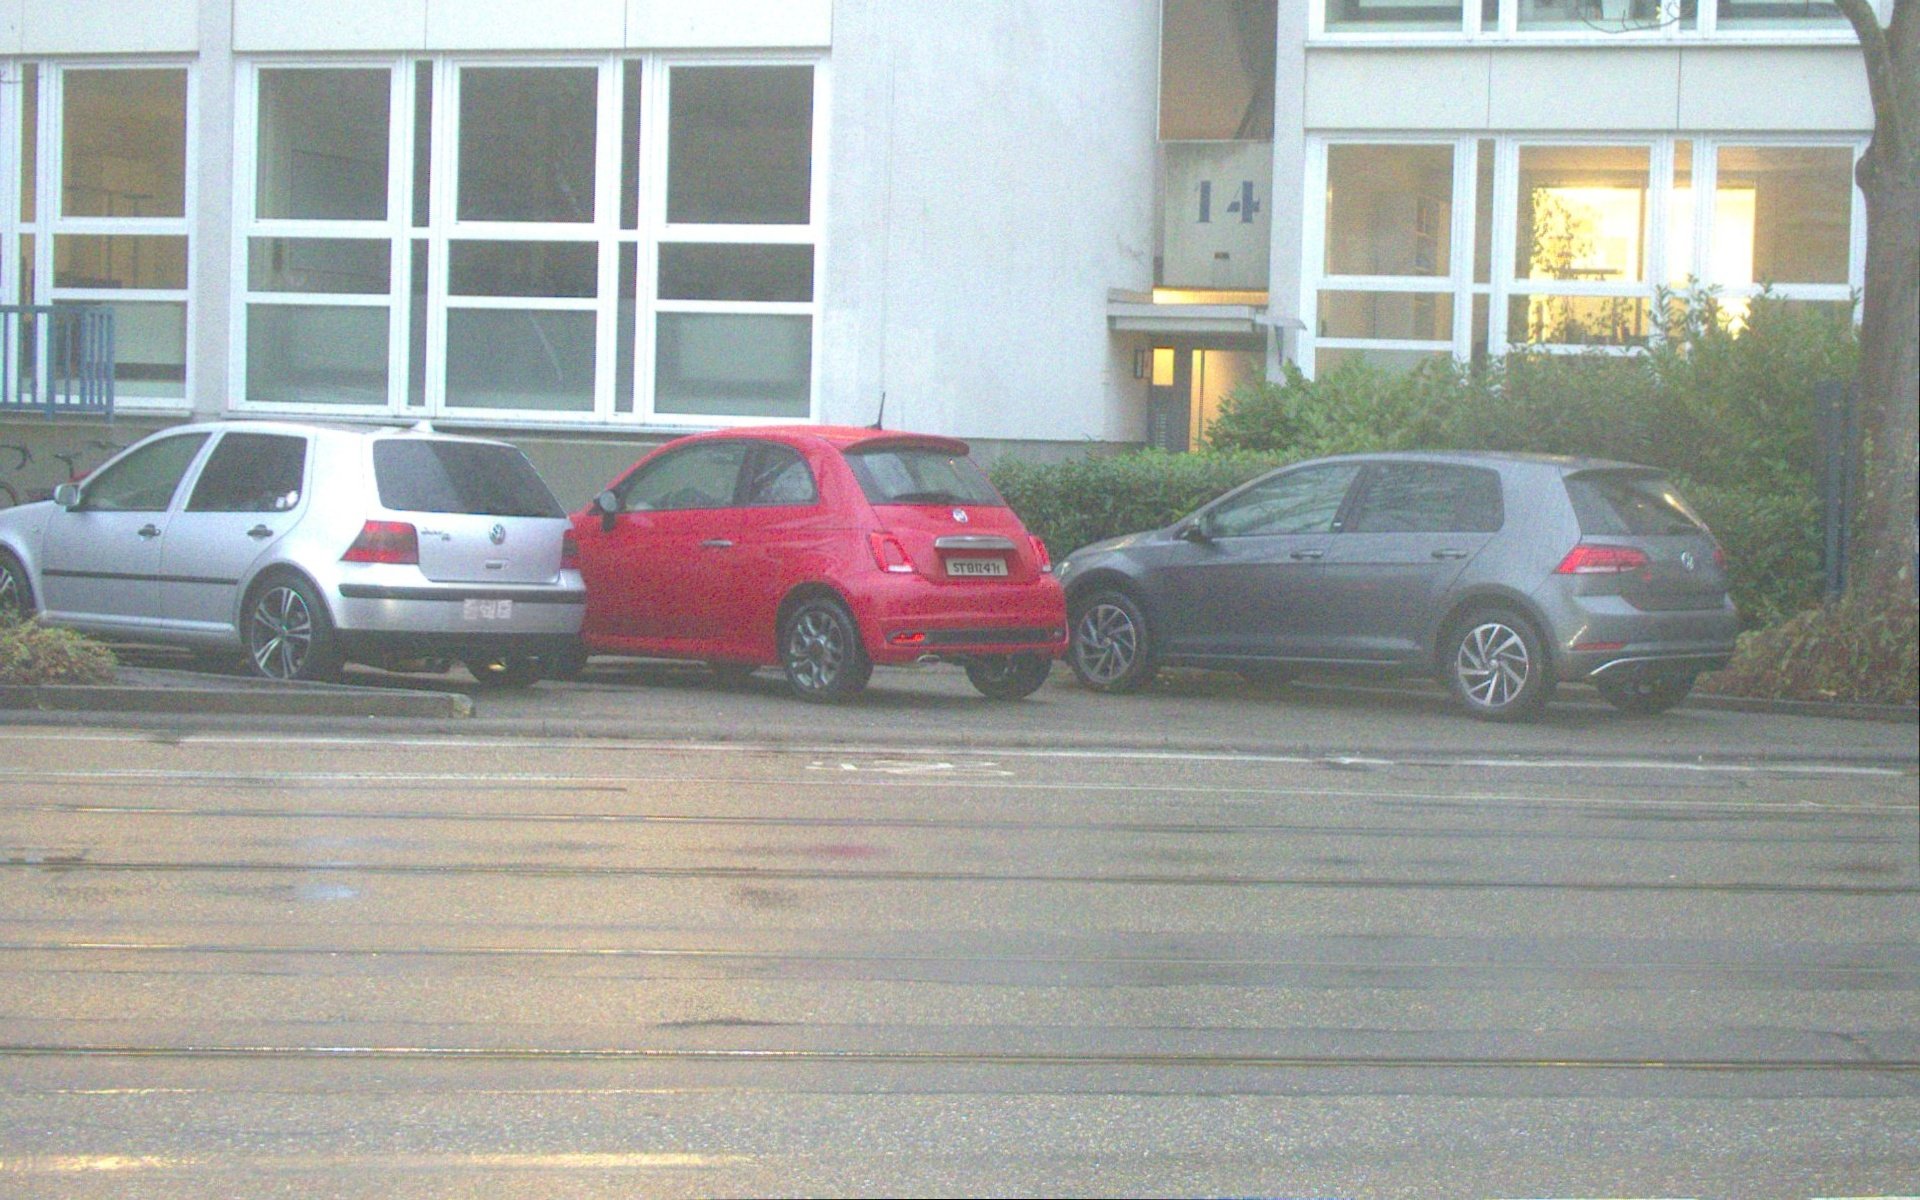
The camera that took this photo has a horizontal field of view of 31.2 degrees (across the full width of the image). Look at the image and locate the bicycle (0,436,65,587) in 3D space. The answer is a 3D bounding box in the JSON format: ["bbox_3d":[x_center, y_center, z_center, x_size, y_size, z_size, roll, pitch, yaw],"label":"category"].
[{"bbox_3d":[-7.481,-0.654,25.414,0.640,1.116,2.204,2,3,16],"label":"bicycle"}]

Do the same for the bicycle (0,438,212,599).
[{"bbox_3d":[-6.283,-0.615,25.109,0.640,1.116,2.204,2,3,16],"label":"bicycle"}]

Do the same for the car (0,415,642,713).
[{"bbox_3d":[-3.840,-0.267,18.896,3.996,1.441,1.789,3,3,37],"label":"car"}]

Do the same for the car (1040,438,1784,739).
[{"bbox_3d":[2.500,-0.135,19.515,3.850,1.487,1.692,3,3,40],"label":"car"}]

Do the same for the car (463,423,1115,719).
[{"bbox_3d":[-1.018,-0.226,19.492,3.448,1.487,1.725,3,3,41],"label":"car"}]
